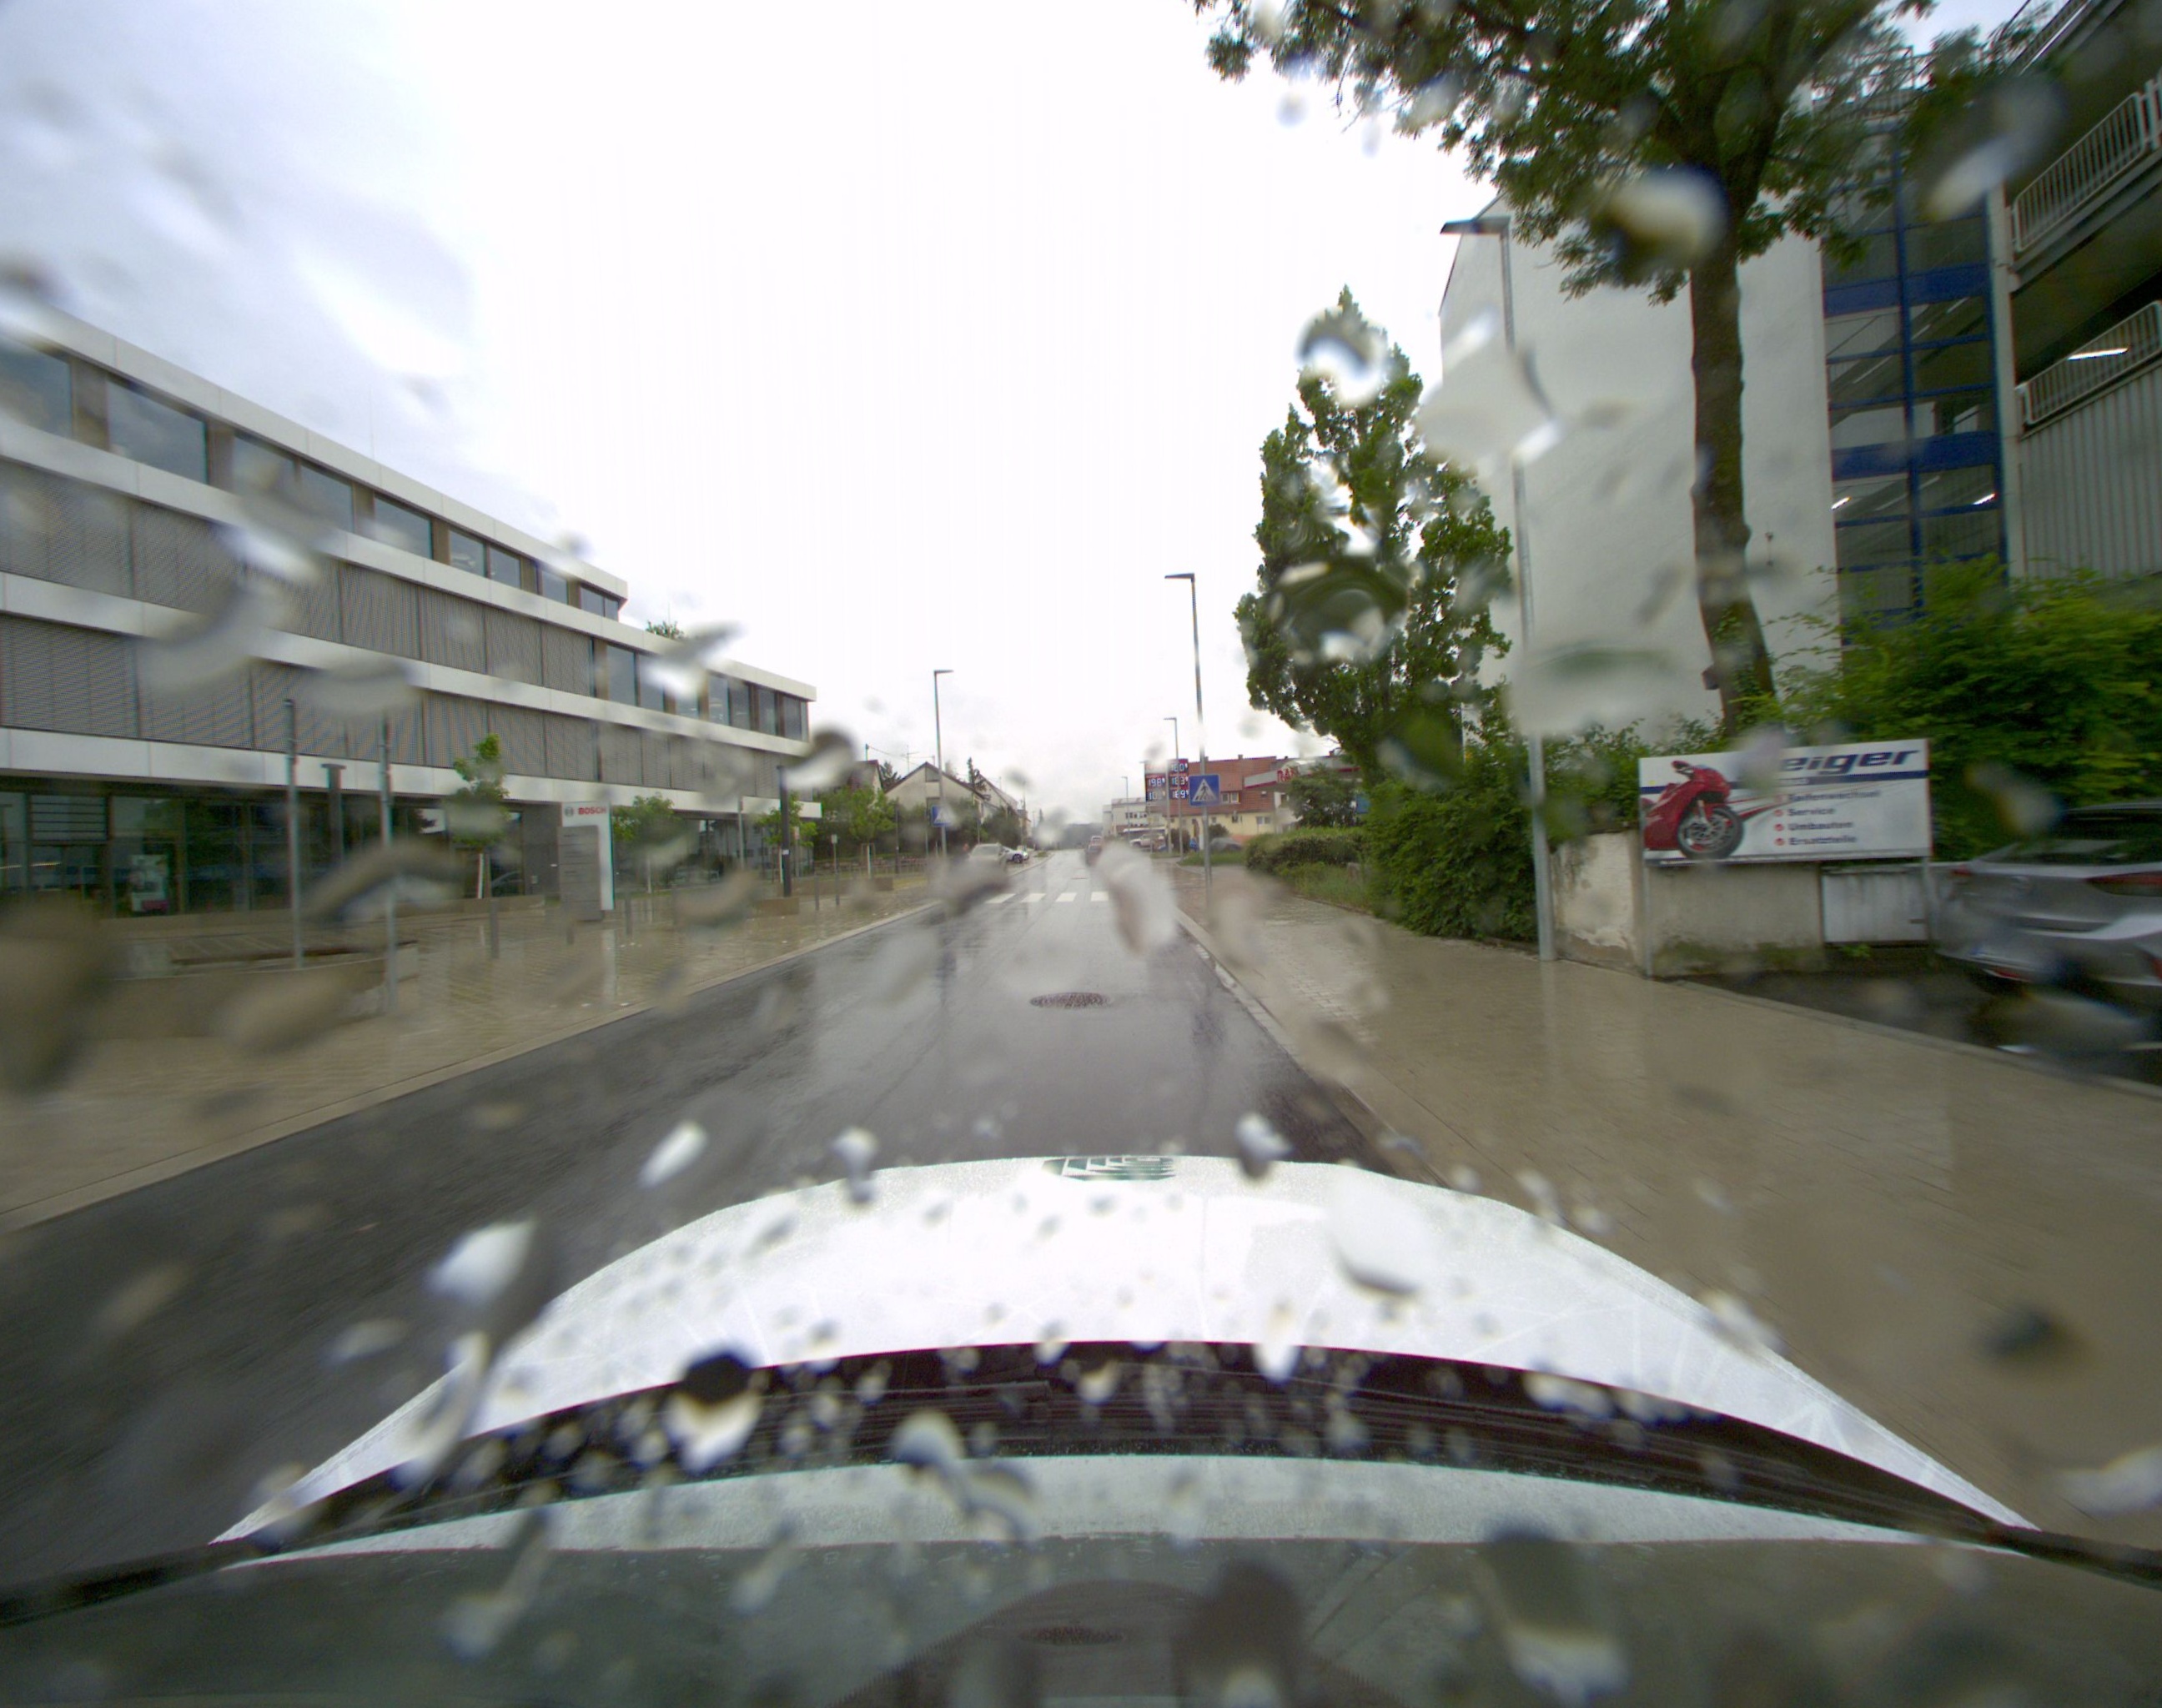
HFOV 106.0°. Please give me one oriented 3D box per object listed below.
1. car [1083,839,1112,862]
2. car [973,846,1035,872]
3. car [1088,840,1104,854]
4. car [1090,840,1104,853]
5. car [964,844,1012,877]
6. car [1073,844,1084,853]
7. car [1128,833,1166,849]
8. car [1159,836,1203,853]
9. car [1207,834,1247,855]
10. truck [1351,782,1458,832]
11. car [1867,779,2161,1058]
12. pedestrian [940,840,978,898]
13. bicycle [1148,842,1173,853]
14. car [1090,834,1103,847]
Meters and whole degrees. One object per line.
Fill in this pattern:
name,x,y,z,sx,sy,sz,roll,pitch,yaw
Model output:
car,1.184,-0.245,60.757,1.943,1.556,3.997,1,-1,-1
car,-6.337,0.402,67.346,4.731,2.014,2.002,1,-1,5
car,2.052,-0.945,109.970,1.986,1.706,4.000,1,-1,1
car,2.469,-1.099,123.388,1.986,1.706,4.000,1,-1,1
car,-5.053,0.296,44.653,1.986,1.629,4.154,-3,1,1
car,-0.468,-1.030,165.989,2.146,1.706,4.000,1,-1,1
car,7.610,-1.501,94.130,4.101,1.706,1.787,1,-1,-2
car,9.883,-0.932,80.382,3.955,1.493,1.866,1,-1,18
car,11.809,-0.712,66.090,1.994,1.552,3.985,1,-1,-10
truck,25.288,-3.635,63.724,7.732,3.444,2.667,1,-1,-14
car,7.609,0.235,4.977,3.598,1.494,1.812,-4,0,10
pedestrian,-3.741,0.445,25.058,1.010,1.724,0.772,-2,0,-2
bicycle,8.517,-0.689,87.466,0.672,1.067,3.594,2,-2,-30
car,2.258,-1.947,116.723,1.776,1.706,4.000,1,-1,1
